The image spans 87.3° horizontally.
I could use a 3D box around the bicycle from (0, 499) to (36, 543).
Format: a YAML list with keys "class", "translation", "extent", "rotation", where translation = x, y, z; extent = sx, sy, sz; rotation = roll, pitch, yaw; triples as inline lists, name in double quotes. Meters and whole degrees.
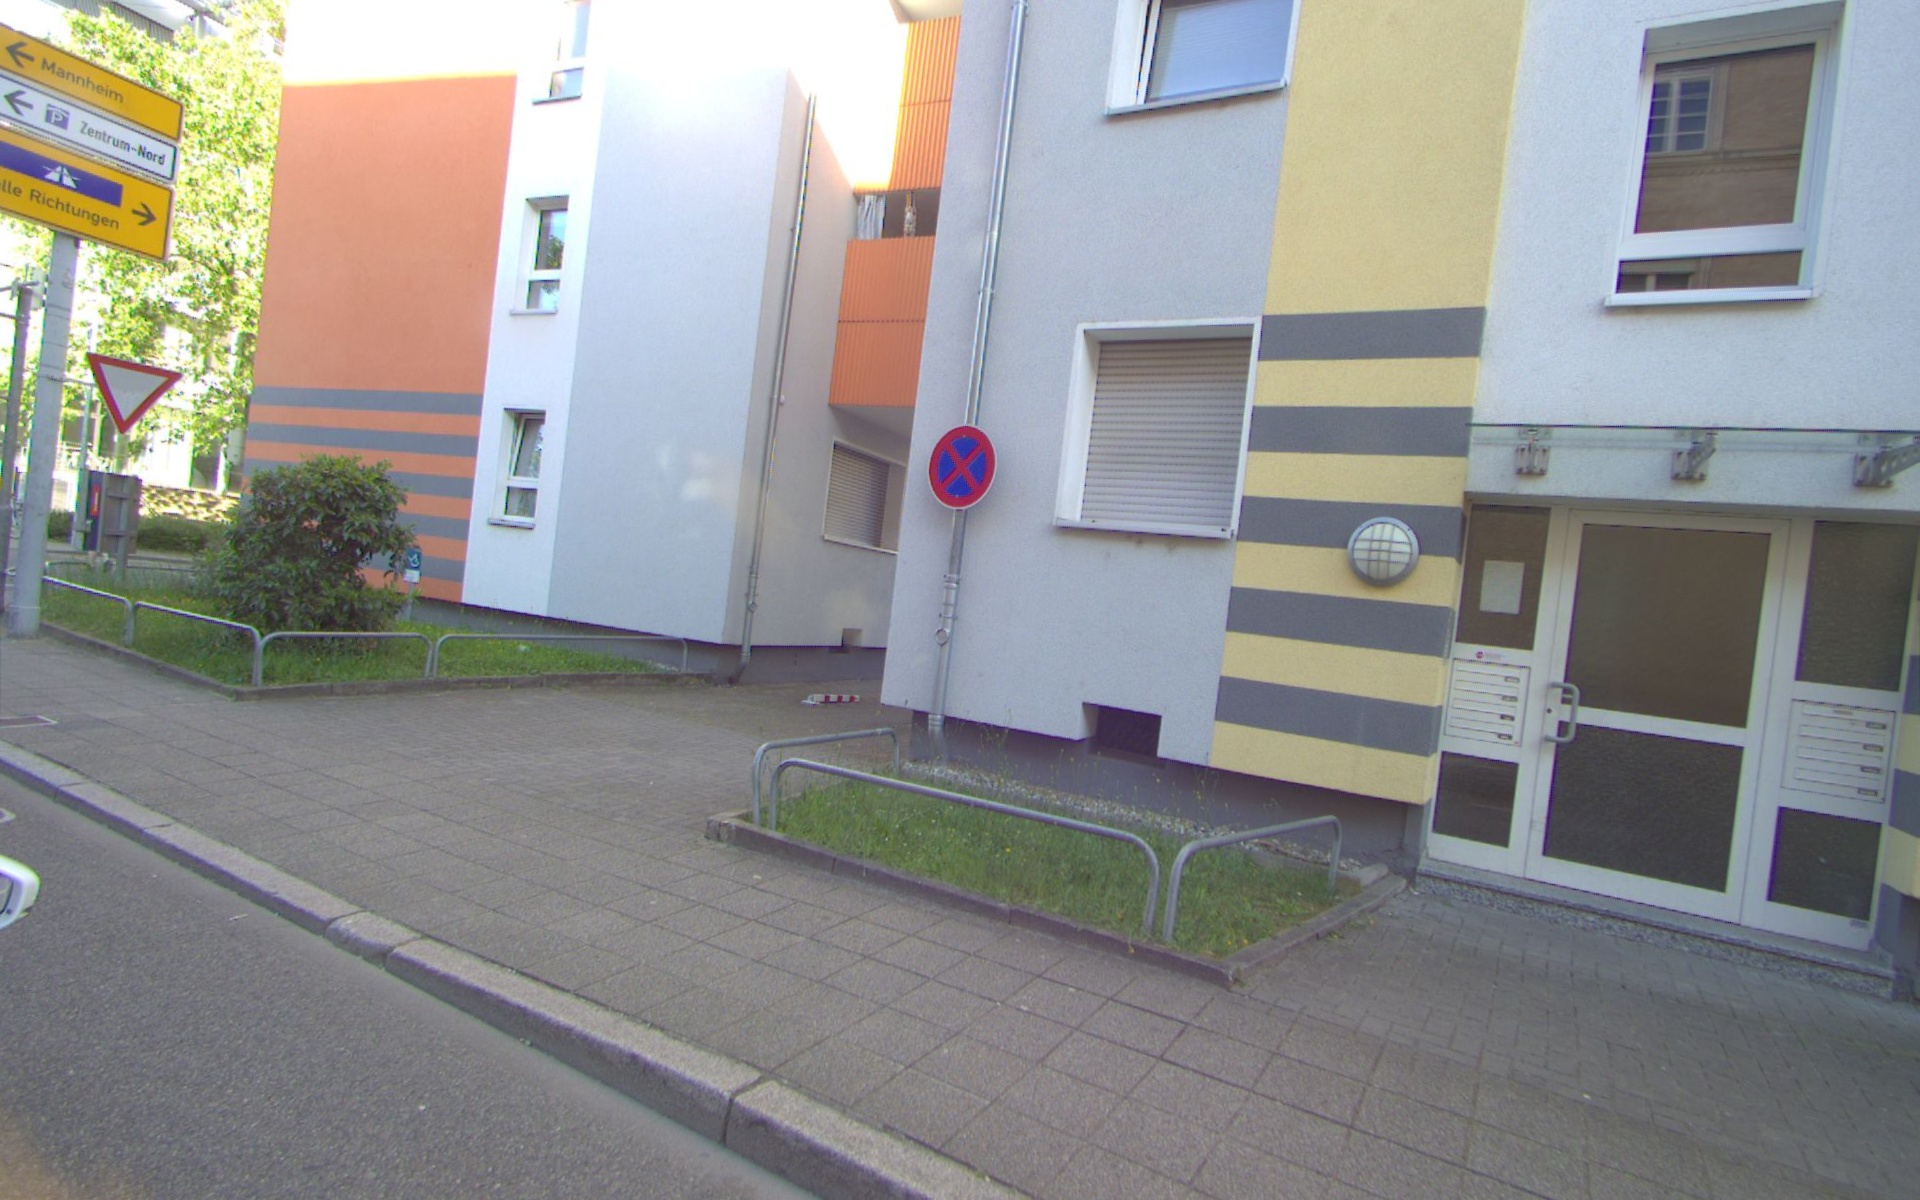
- class: "bicycle"
  translation: [-26.256, -2.223, 27.335]
  extent: [1.658, 1.063, 0.508]
  rotation: [9, 2, -3]

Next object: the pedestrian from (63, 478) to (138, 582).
- class: "pedestrian"
  translation: [-16.688, -1.362, 19.539]
  extent: [0.823, 1.861, 0.708]
  rotation: [8, -1, 32]

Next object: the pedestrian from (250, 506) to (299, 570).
- class: "pedestrian"
  translation: [-21.689, -1.942, 31.836]
  extent: [0.696, 1.861, 0.837]
  rotation: [8, -1, 22]
